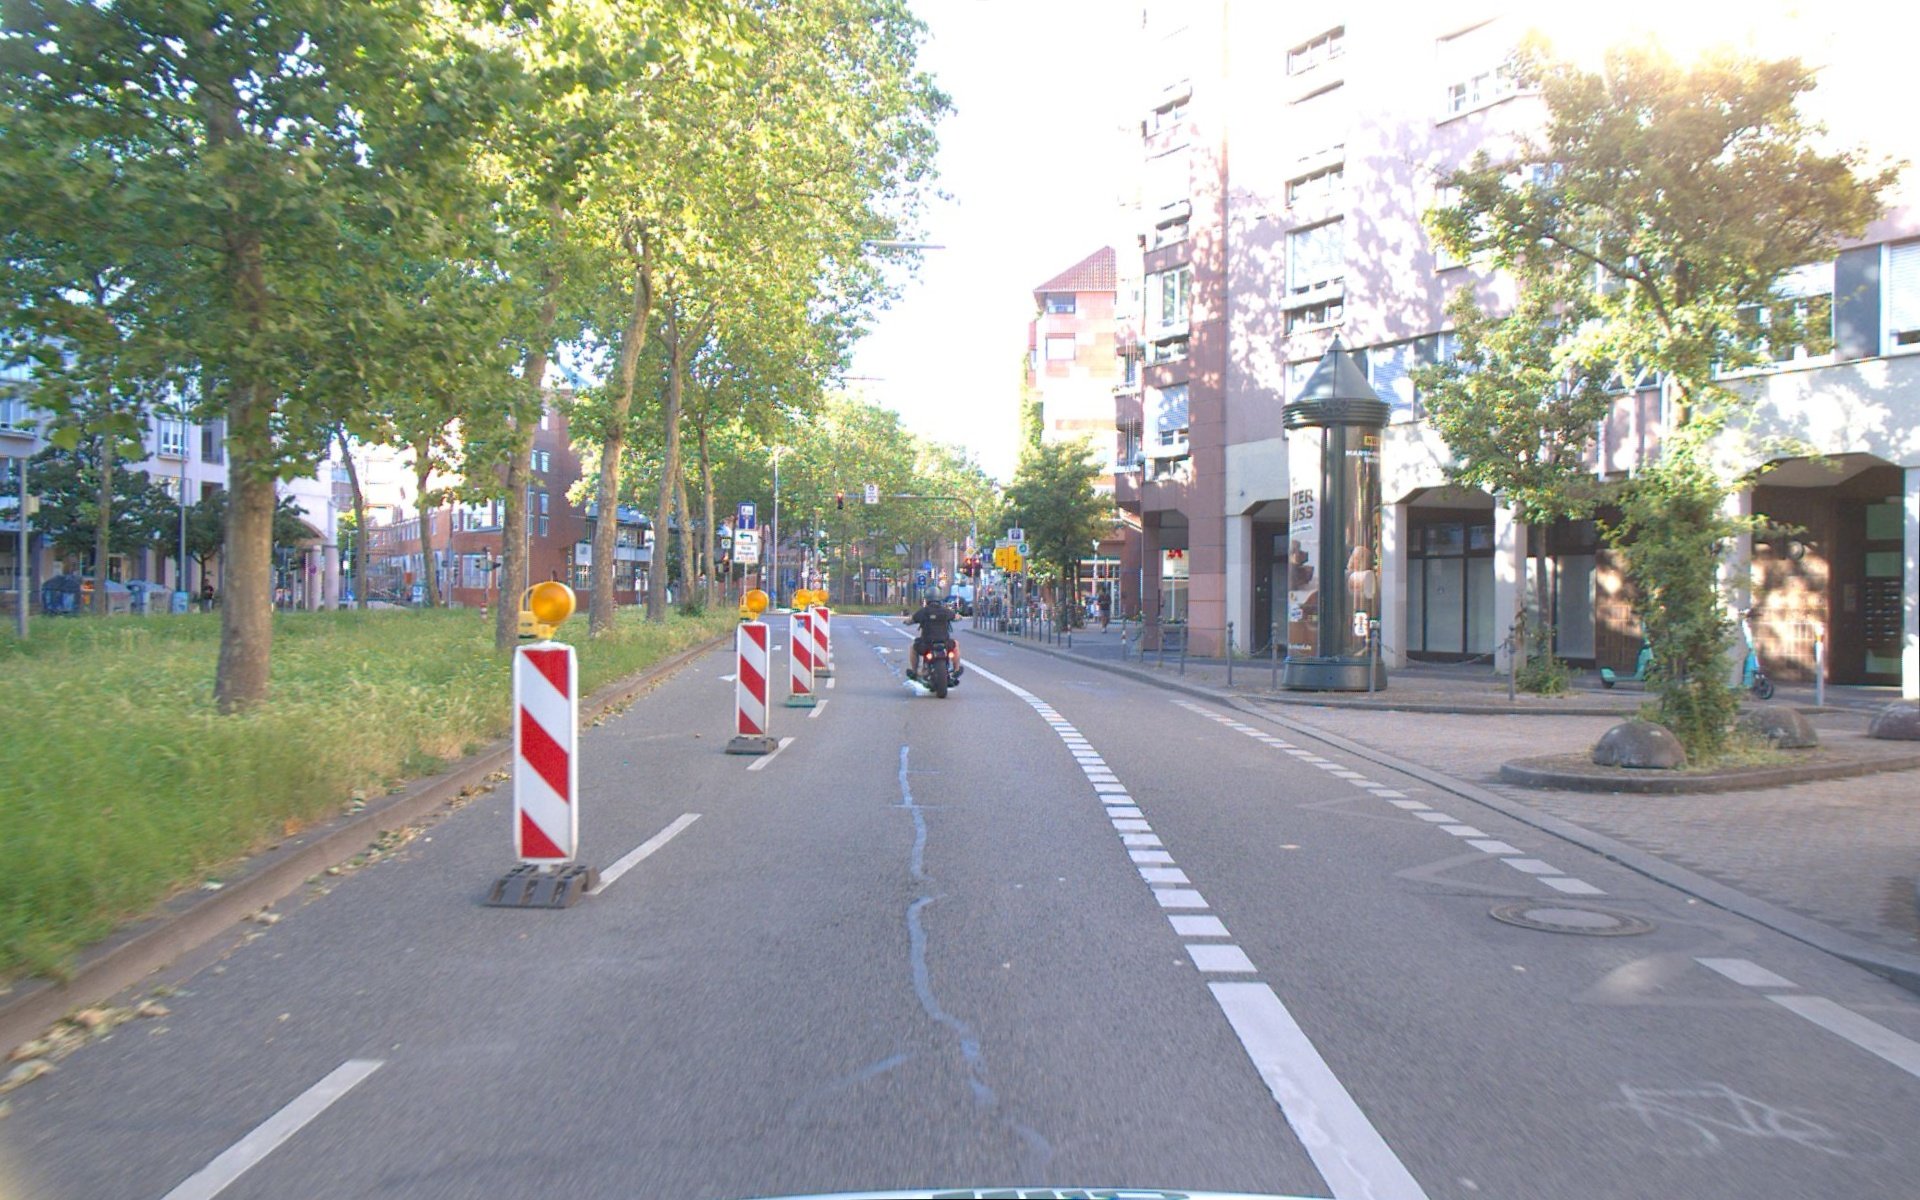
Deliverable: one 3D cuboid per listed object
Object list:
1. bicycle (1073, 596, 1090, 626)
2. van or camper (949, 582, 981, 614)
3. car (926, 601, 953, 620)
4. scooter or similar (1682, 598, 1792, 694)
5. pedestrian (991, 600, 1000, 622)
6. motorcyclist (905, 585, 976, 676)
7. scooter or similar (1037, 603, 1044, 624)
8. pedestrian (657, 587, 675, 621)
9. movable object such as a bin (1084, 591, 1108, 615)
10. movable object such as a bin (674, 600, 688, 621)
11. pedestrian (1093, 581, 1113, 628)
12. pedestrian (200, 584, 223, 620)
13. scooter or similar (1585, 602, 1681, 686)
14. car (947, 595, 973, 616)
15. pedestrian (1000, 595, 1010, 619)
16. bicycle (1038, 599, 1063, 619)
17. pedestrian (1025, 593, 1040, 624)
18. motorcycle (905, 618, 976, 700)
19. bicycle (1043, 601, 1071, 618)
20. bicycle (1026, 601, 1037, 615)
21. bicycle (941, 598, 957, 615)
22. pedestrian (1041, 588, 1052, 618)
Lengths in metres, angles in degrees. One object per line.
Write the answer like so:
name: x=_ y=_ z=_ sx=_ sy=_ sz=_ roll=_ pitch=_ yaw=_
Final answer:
bicycle: x=5.304 y=0.474 z=72.261 sx=0.608 sy=1.247 sz=1.928 roll=0 pitch=0 yaw=8
van or camper: x=0.440 y=-0.143 z=135.515 sx=2.005 sy=2.585 sz=5.777 roll=0 pitch=0 yaw=6
car: x=-1.476 y=0.734 z=119.207 sx=1.586 sy=1.325 sz=4.314 roll=0 pitch=0 yaw=4
scooter or similar: x=10.860 y=0.624 z=23.165 sx=0.478 sy=1.296 sz=1.440 roll=1 pitch=0 yaw=-23
pedestrian: x=2.568 y=0.831 z=121.302 sx=0.631 sy=1.606 sz=0.748 roll=0 pitch=0 yaw=-1
motorcyclist: x=-0.297 y=0.444 z=24.642 sx=0.991 sy=1.285 sz=0.773 roll=3 pitch=0 yaw=-2
scooter or similar: x=4.568 y=0.769 z=94.133 sx=0.386 sy=1.178 sz=1.250 roll=0 pitch=0 yaw=2
pedestrian: x=-13.356 y=0.172 z=75.135 sx=0.605 sy=1.530 sz=0.534 roll=0 pitch=0 yaw=21
movable object such as a bin: x=8.296 y=0.181 z=101.015 sx=1.380 sy=1.508 sz=0.872 roll=0 pitch=0 yaw=7
movable object such as a bin: x=-12.715 y=0.484 z=75.416 sx=0.499 sy=0.970 sz=0.540 roll=0 pitch=0 yaw=9
pedestrian: x=5.436 y=0.163 z=62.979 sx=0.764 sy=1.769 sz=0.837 roll=0 pitch=0 yaw=4
pedestrian: x=-35.170 y=0.074 z=77.733 sx=0.692 sy=1.667 sz=0.789 roll=0 pitch=0 yaw=7
scooter or similar: x=10.288 y=0.657 z=25.315 sx=0.478 sy=1.238 sz=1.440 roll=1 pitch=0 yaw=-23
car: x=0.027 y=0.415 z=129.157 sx=1.586 sy=1.647 sz=4.488 roll=0 pitch=0 yaw=5
pedestrian: x=3.303 y=0.519 z=121.225 sx=0.686 sy=1.764 sz=0.767 roll=0 pitch=0 yaw=-1
bicycle: x=5.658 y=0.552 z=103.568 sx=1.534 sy=1.248 sz=0.578 roll=0 pitch=0 yaw=1
pedestrian: x=4.108 y=0.475 z=94.220 sx=0.770 sy=1.794 sz=0.609 roll=0 pitch=0 yaw=-7
motorcycle: x=-0.310 y=0.854 z=24.506 sx=0.997 sy=1.116 sz=2.007 roll=1 pitch=0 yaw=-2
bicycle: x=6.255 y=0.614 z=106.682 sx=1.711 sy=1.071 sz=0.739 roll=0 pitch=0 yaw=23
bicycle: x=4.822 y=0.532 z=111.588 sx=0.722 sy=0.956 sz=1.752 roll=0 pitch=0 yaw=0
bicycle: x=-0.755 y=0.438 z=112.084 sx=0.724 sy=1.071 sz=1.746 roll=0 pitch=0 yaw=-13
pedestrian: x=4.939 y=0.190 z=94.642 sx=0.451 sy=1.702 sz=0.678 roll=0 pitch=0 yaw=-13
